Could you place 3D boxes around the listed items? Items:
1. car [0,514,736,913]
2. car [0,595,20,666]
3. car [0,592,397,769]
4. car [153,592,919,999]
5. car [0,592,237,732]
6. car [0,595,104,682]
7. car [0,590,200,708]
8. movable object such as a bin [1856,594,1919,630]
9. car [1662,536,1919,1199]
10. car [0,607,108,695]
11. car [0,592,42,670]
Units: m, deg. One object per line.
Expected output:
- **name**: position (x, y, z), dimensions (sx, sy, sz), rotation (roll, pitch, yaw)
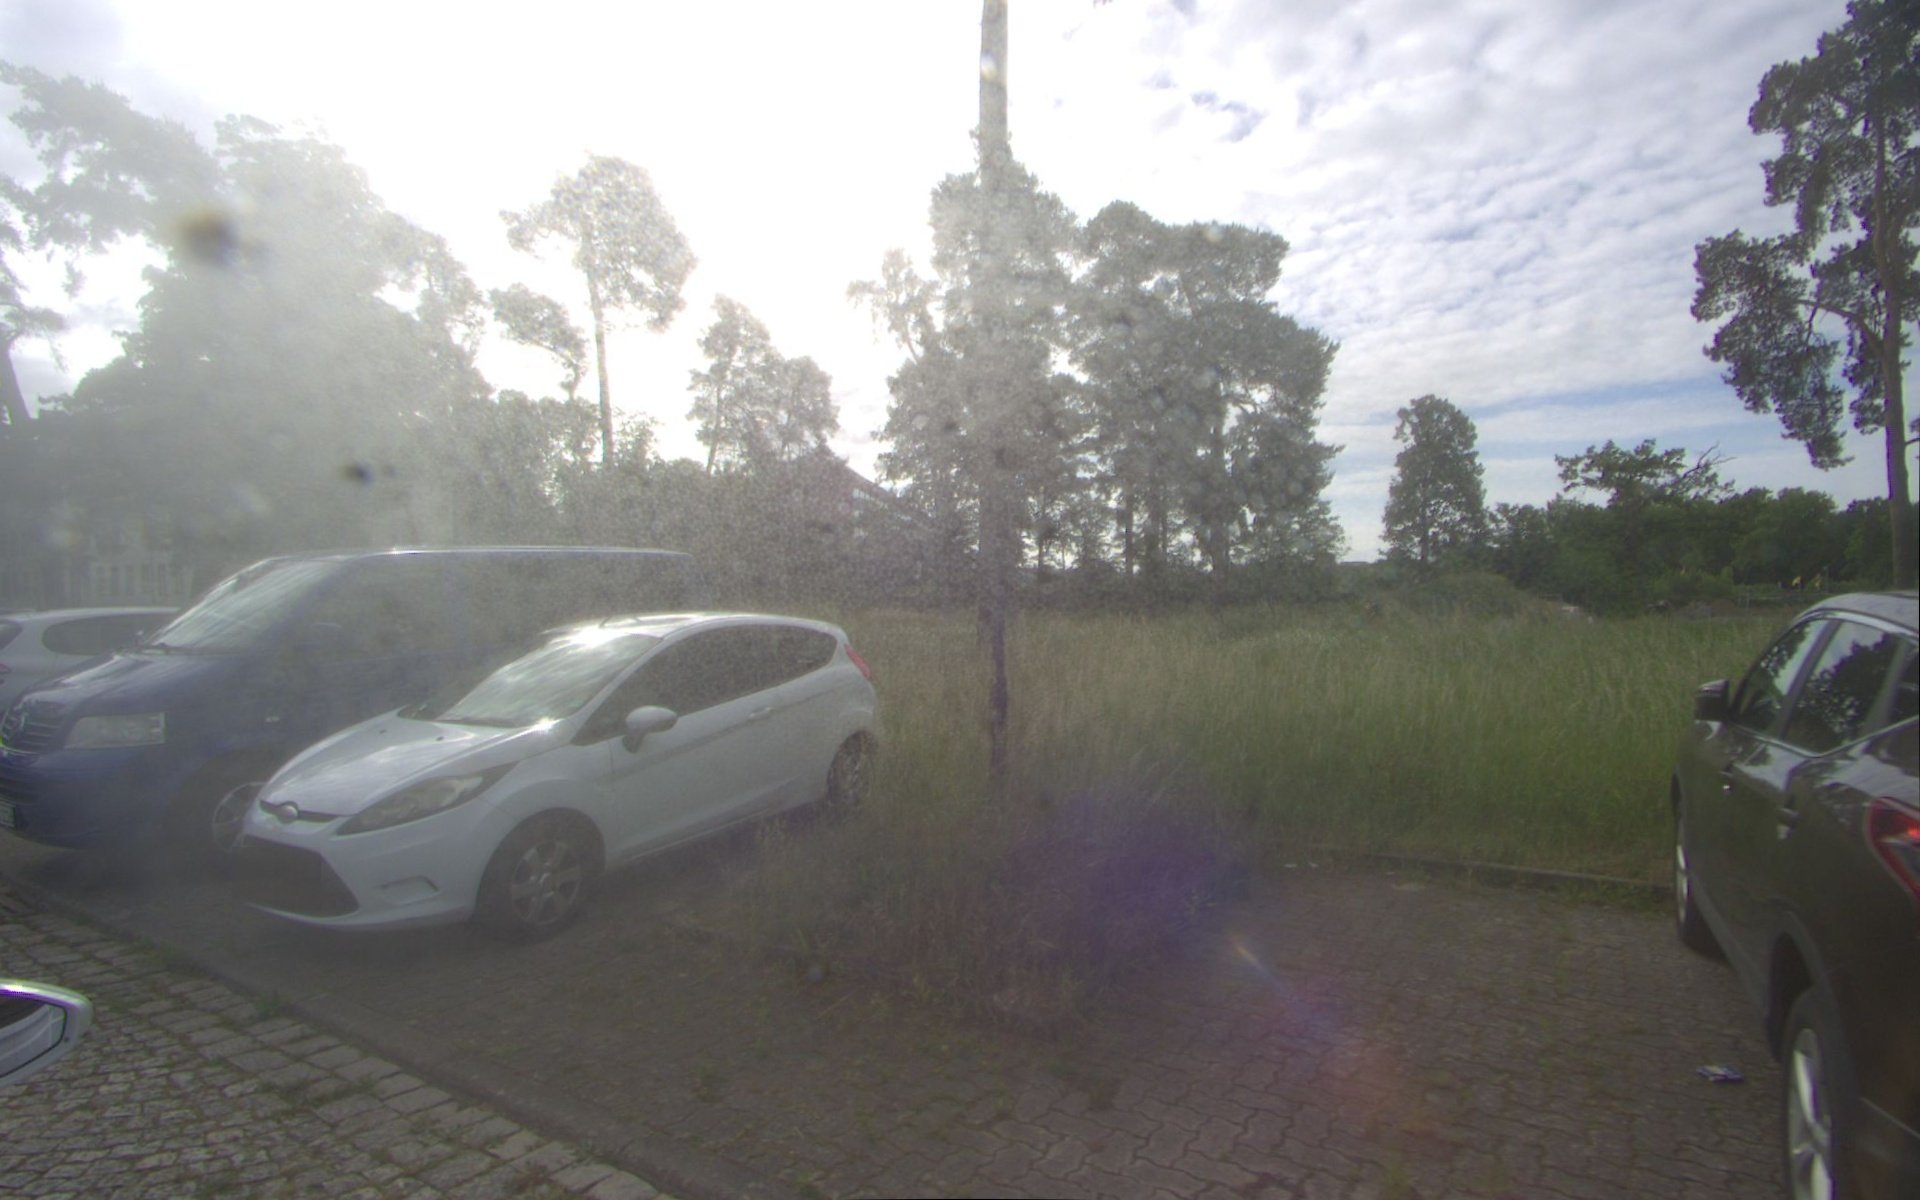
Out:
- **car**: position (-4.114, 0.496, 7.492), dimensions (1.974, 1.972, 4.797), rotation (1, 2, 31)
- **car**: position (-21.395, 0.683, 19.126), dimensions (1.843, 1.436, 4.672), rotation (0, 2, 30)
- **car**: position (-8.388, 0.695, 10.605), dimensions (1.732, 1.492, 3.853), rotation (0, 2, 31)
- **car**: position (-2.065, 0.739, 5.959), dimensions (1.814, 1.492, 3.853), rotation (0, 2, 31)
- **car**: position (-11.050, 0.686, 11.680), dimensions (1.732, 1.492, 3.853), rotation (0, 2, 31)
- **car**: position (-17.223, 0.678, 16.582), dimensions (1.844, 1.436, 4.251), rotation (0, 2, 32)
- **car**: position (-13.072, 0.650, 13.720), dimensions (1.732, 1.492, 3.853), rotation (0, 2, 31)
- **movable object such as a bin**: position (53.866, 0.700, 57.624), dimensions (3.181, 2.040, 1.680), rotation (0, 0, -6)
- **car**: position (3.362, 0.670, 2.975), dimensions (1.795, 1.620, 4.251), rotation (0, 1, 31)
- **car**: position (-15.419, 0.804, 14.870), dimensions (1.732, 1.253, 3.853), rotation (0, 2, 31)
- **car**: position (-19.294, 0.621, 17.492), dimensions (1.840, 1.436, 4.421), rotation (0, 2, 24)
